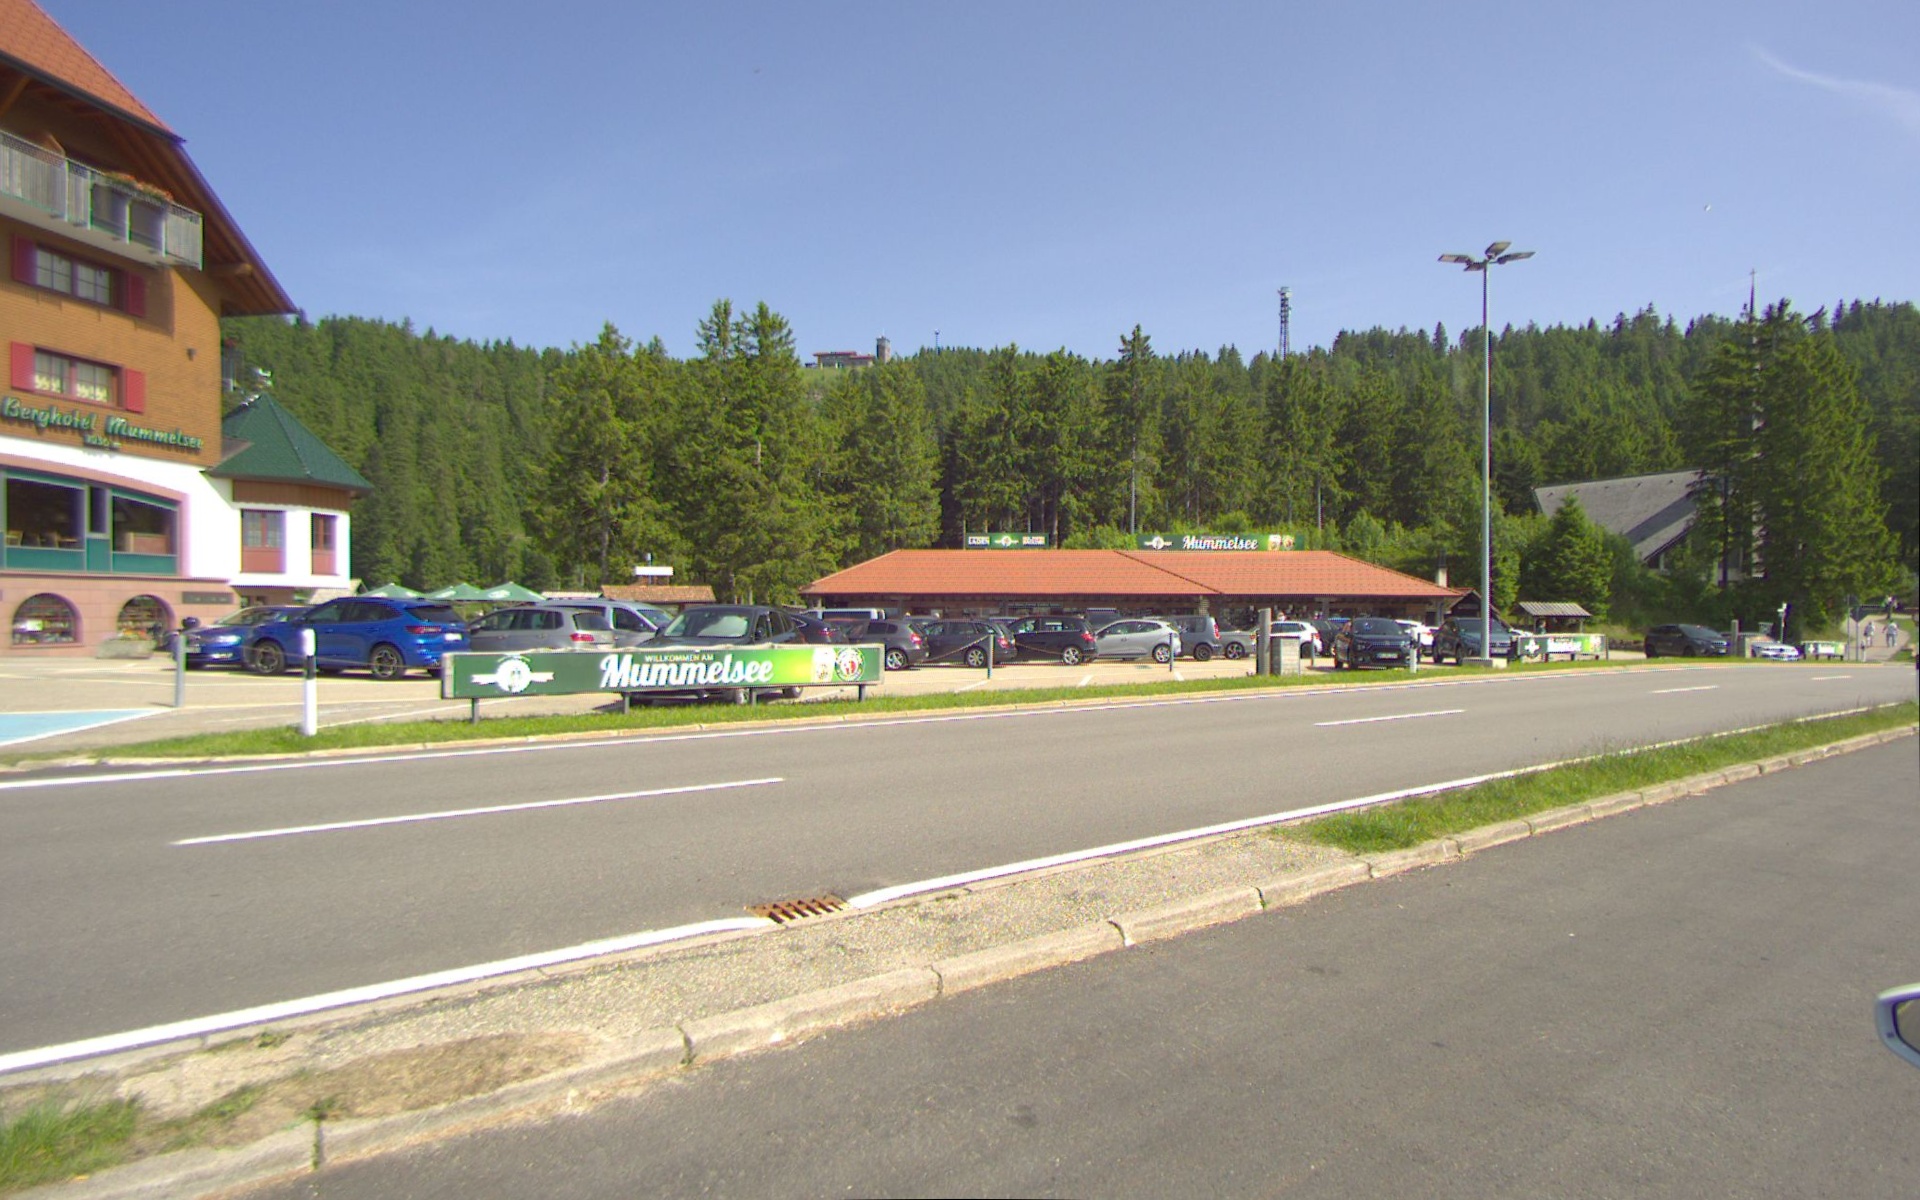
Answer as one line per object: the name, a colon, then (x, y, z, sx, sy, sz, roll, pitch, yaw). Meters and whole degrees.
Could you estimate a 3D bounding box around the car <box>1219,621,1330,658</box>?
car: (12.323, 1.543, 39.570, 3.919, 1.439, 1.909, 0, -1, 9)

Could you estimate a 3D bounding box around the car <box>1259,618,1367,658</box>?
car: (14.532, 1.557, 41.563, 3.919, 1.595, 2.001, 0, -1, 9)

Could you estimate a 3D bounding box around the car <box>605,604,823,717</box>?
car: (-3.759, 0.876, 16.202, 1.771, 1.561, 4.195, -1, -1, 12)

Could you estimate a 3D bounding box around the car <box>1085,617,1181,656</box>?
car: (7.380, 1.551, 43.125, 3.919, 1.595, 2.001, 0, -1, 6)

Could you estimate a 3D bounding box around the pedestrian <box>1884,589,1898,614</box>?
pedestrian: (79.183, 0.132, 85.450, 0.848, 2.040, 0.807, 0, -1, -45)

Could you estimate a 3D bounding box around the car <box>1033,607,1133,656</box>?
car: (4.976, 1.289, 40.874, 3.919, 1.929, 2.001, 0, -1, 6)

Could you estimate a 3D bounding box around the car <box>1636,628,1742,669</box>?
car: (31.974, 2.094, 44.196, 1.753, 1.655, 4.213, 2, -1, 4)

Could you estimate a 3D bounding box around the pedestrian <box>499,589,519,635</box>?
pedestrian: (-23.094, 0.625, 51.455, 0.804, 2.314, 0.728, -3, 0, -19)

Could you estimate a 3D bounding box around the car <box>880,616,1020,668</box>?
car: (-0.274, 1.253, 30.353, 3.996, 1.506, 1.717, -1, -1, 9)

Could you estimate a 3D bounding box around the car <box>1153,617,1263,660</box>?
car: (9.305, 1.436, 37.945, 3.919, 1.565, 1.900, -1, -1, 10)

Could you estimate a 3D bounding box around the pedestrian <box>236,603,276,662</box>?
pedestrian: (-20.330, 0.931, 29.012, 0.613, 1.654, 0.703, 0, 0, 17)

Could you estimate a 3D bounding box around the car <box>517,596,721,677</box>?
car: (-8.355, 0.885, 24.749, 4.438, 1.888, 1.836, -1, -1, 11)

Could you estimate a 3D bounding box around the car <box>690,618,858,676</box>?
car: (-4.826, 1.205, 26.343, 3.919, 1.449, 1.915, 0, -1, 8)

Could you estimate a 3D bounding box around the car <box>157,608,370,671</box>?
car: (-15.851, 0.859, 23.130, 1.679, 1.314, 4.003, 0, -1, 10)

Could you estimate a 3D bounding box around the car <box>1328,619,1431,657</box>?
car: (18.936, 1.740, 45.515, 3.949, 1.694, 1.778, 0, -2, 8)

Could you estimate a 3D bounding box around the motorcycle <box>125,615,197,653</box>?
motorcycle: (-23.874, 1.014, 30.031, 1.755, 0.999, 0.480, 3, 6, 0)

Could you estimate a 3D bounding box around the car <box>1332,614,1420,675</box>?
car: (11.628, 1.182, 28.283, 1.747, 1.572, 4.002, 0, -1, 15)

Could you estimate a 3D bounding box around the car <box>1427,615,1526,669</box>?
car: (16.770, 1.312, 32.790, 1.705, 1.588, 4.062, 1, -1, 10)

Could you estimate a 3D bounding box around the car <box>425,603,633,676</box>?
car: (-9.774, 0.873, 22.934, 3.919, 1.566, 2.001, -1, -1, 10)

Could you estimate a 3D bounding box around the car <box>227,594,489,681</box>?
car: (-12.530, 0.749, 21.048, 4.453, 1.686, 1.941, 1, 0, 8)

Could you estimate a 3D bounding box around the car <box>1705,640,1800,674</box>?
car: (37.289, 2.657, 47.399, 1.708, 1.460, 3.973, 0, -1, 7)

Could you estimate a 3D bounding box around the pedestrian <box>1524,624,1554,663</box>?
pedestrian: (26.600, 1.967, 46.149, 0.951, 1.757, 0.890, 0, -1, -37)

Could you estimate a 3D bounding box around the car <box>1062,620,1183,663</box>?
car: (5.479, 1.404, 33.945, 3.919, 1.389, 1.813, -1, -1, 9)

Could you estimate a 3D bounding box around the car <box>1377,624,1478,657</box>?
car: (21.949, 1.901, 47.250, 3.944, 1.487, 1.778, 0, -2, 8)

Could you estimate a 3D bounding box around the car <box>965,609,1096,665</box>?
car: (2.283, 1.162, 32.121, 3.919, 1.726, 1.827, -1, -1, 14)

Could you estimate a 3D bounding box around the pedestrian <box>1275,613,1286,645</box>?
pedestrian: (19.221, 1.726, 60.286, 0.517, 1.898, 0.547, 1, 0, 7)

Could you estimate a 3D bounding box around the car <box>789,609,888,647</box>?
car: (-5.084, 1.159, 42.429, 3.802, 1.550, 1.911, 0, -1, 6)

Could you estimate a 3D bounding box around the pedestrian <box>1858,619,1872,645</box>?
pedestrian: (59.561, 2.114, 66.110, 0.638, 1.688, 0.646, 4, -3, -43)

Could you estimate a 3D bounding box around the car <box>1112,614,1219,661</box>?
car: (7.309, 1.336, 36.034, 3.657, 1.609, 1.736, -1, -1, 9)

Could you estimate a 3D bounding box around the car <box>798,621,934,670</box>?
car: (-2.626, 1.279, 28.427, 3.565, 1.339, 1.588, 0, -1, 7)

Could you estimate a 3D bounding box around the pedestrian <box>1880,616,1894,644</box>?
pedestrian: (60.684, 1.966, 65.759, 0.638, 1.823, 0.646, 1, 0, -43)
